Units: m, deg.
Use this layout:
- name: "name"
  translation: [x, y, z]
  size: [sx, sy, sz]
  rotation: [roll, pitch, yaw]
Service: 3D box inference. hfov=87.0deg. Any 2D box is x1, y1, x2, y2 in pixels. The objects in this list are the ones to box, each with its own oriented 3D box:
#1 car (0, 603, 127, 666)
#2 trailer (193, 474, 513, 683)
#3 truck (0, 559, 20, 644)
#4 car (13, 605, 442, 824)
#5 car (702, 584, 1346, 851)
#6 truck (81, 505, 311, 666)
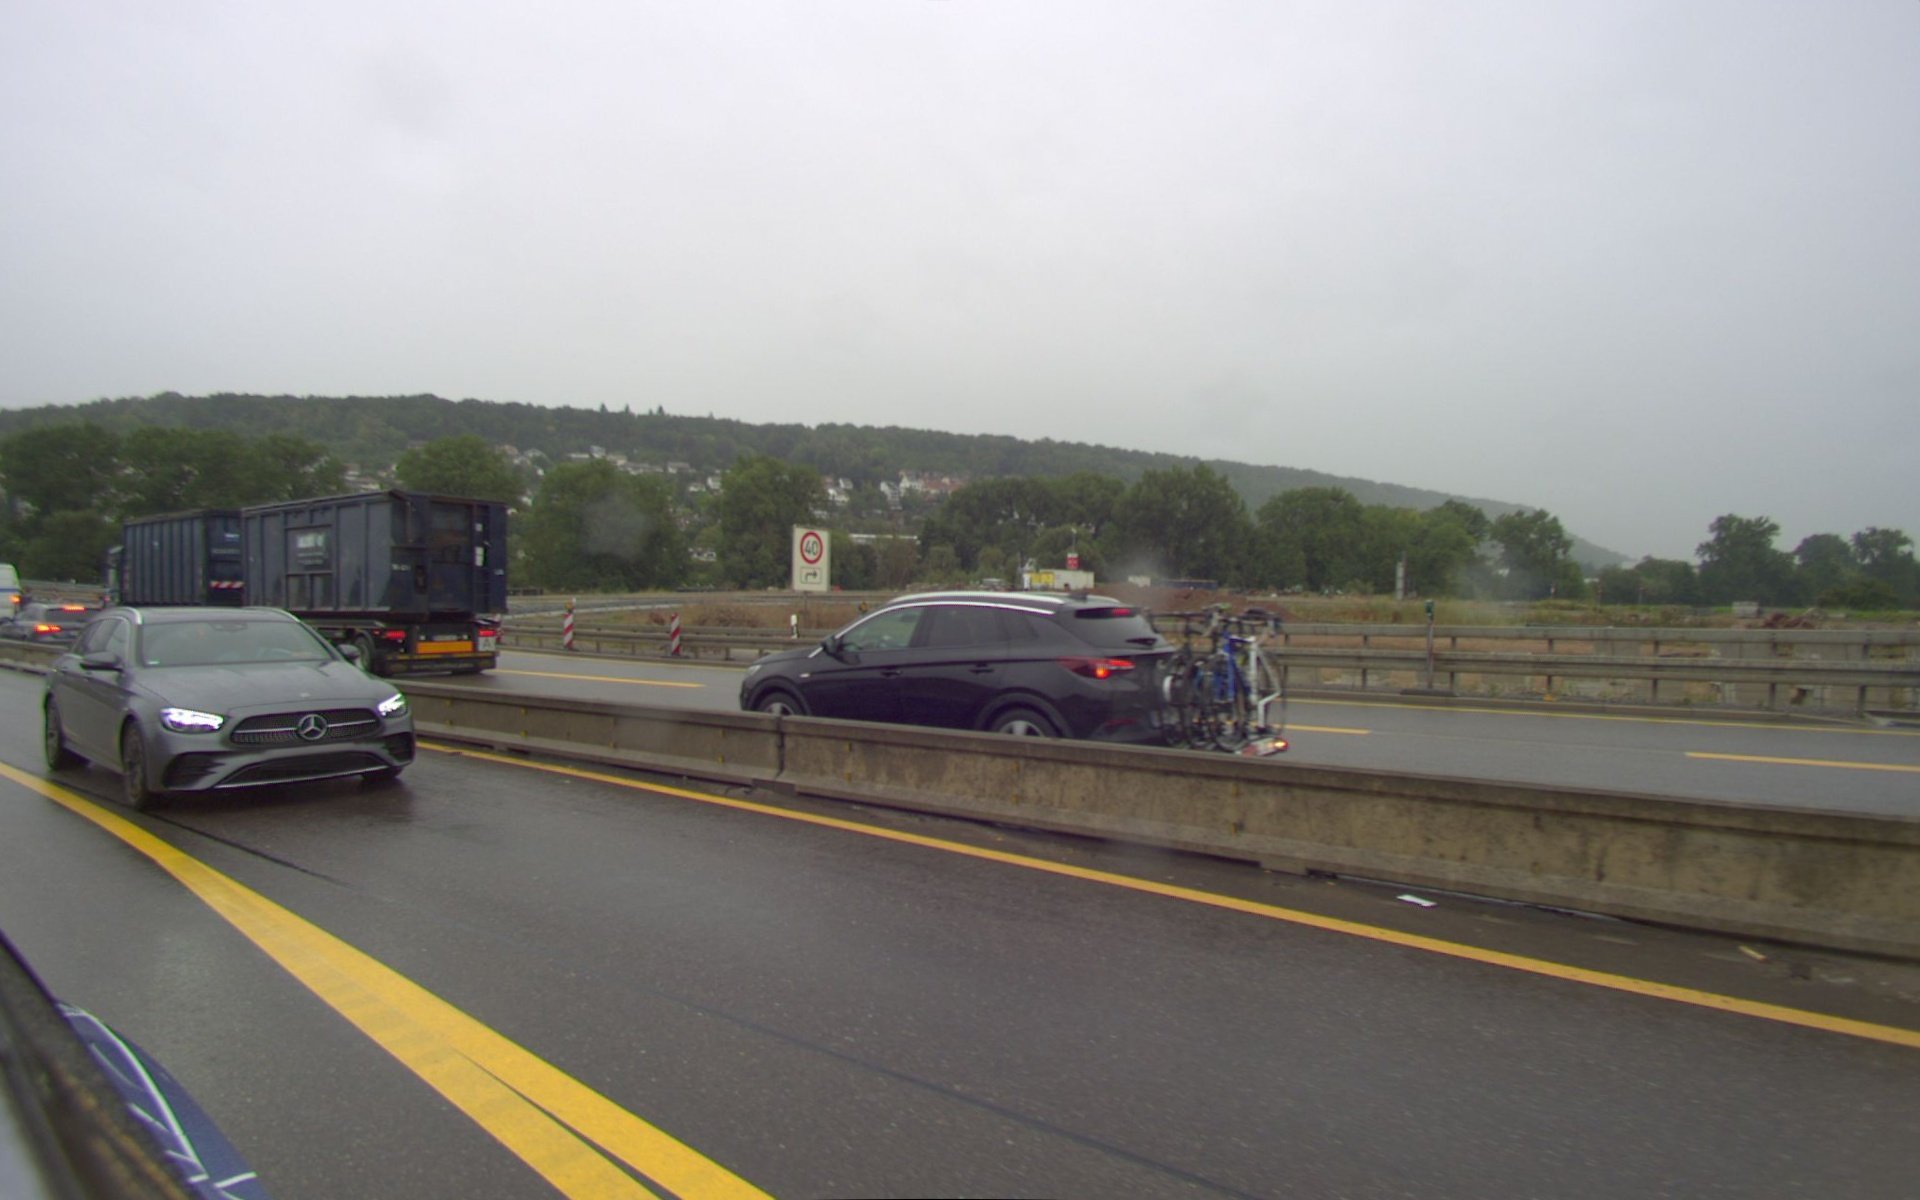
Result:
- name: "car"
  translation: [-23.461, 0.821, 26.155]
  size: [4.660, 1.482, 1.852]
  rotation: [0, 0, 35]
- name: "trailer"
  translation: [-14.272, -0.375, 23.353]
  size: [9.652, 4.000, 2.722]
  rotation: [-1, -1, 36]
- name: "truck"
  translation: [-33.839, 0.038, 34.046]
  size: [6.003, 2.734, 2.129]
  rotation: [0, 0, 36]
- name: "car"
  translation: [-6.573, 0.797, 8.898]
  size: [4.477, 1.449, 1.928]
  rotation: [-1, -1, 38]
- name: "car"
  translation: [0.250, 0.753, 8.780]
  size: [5.541, 1.697, 1.722]
  rotation: [0, 0, 37]
- name: "truck"
  translation: [-21.969, -0.335, 28.876]
  size: [9.192, 4.000, 2.618]
  rotation: [-1, -1, 36]
